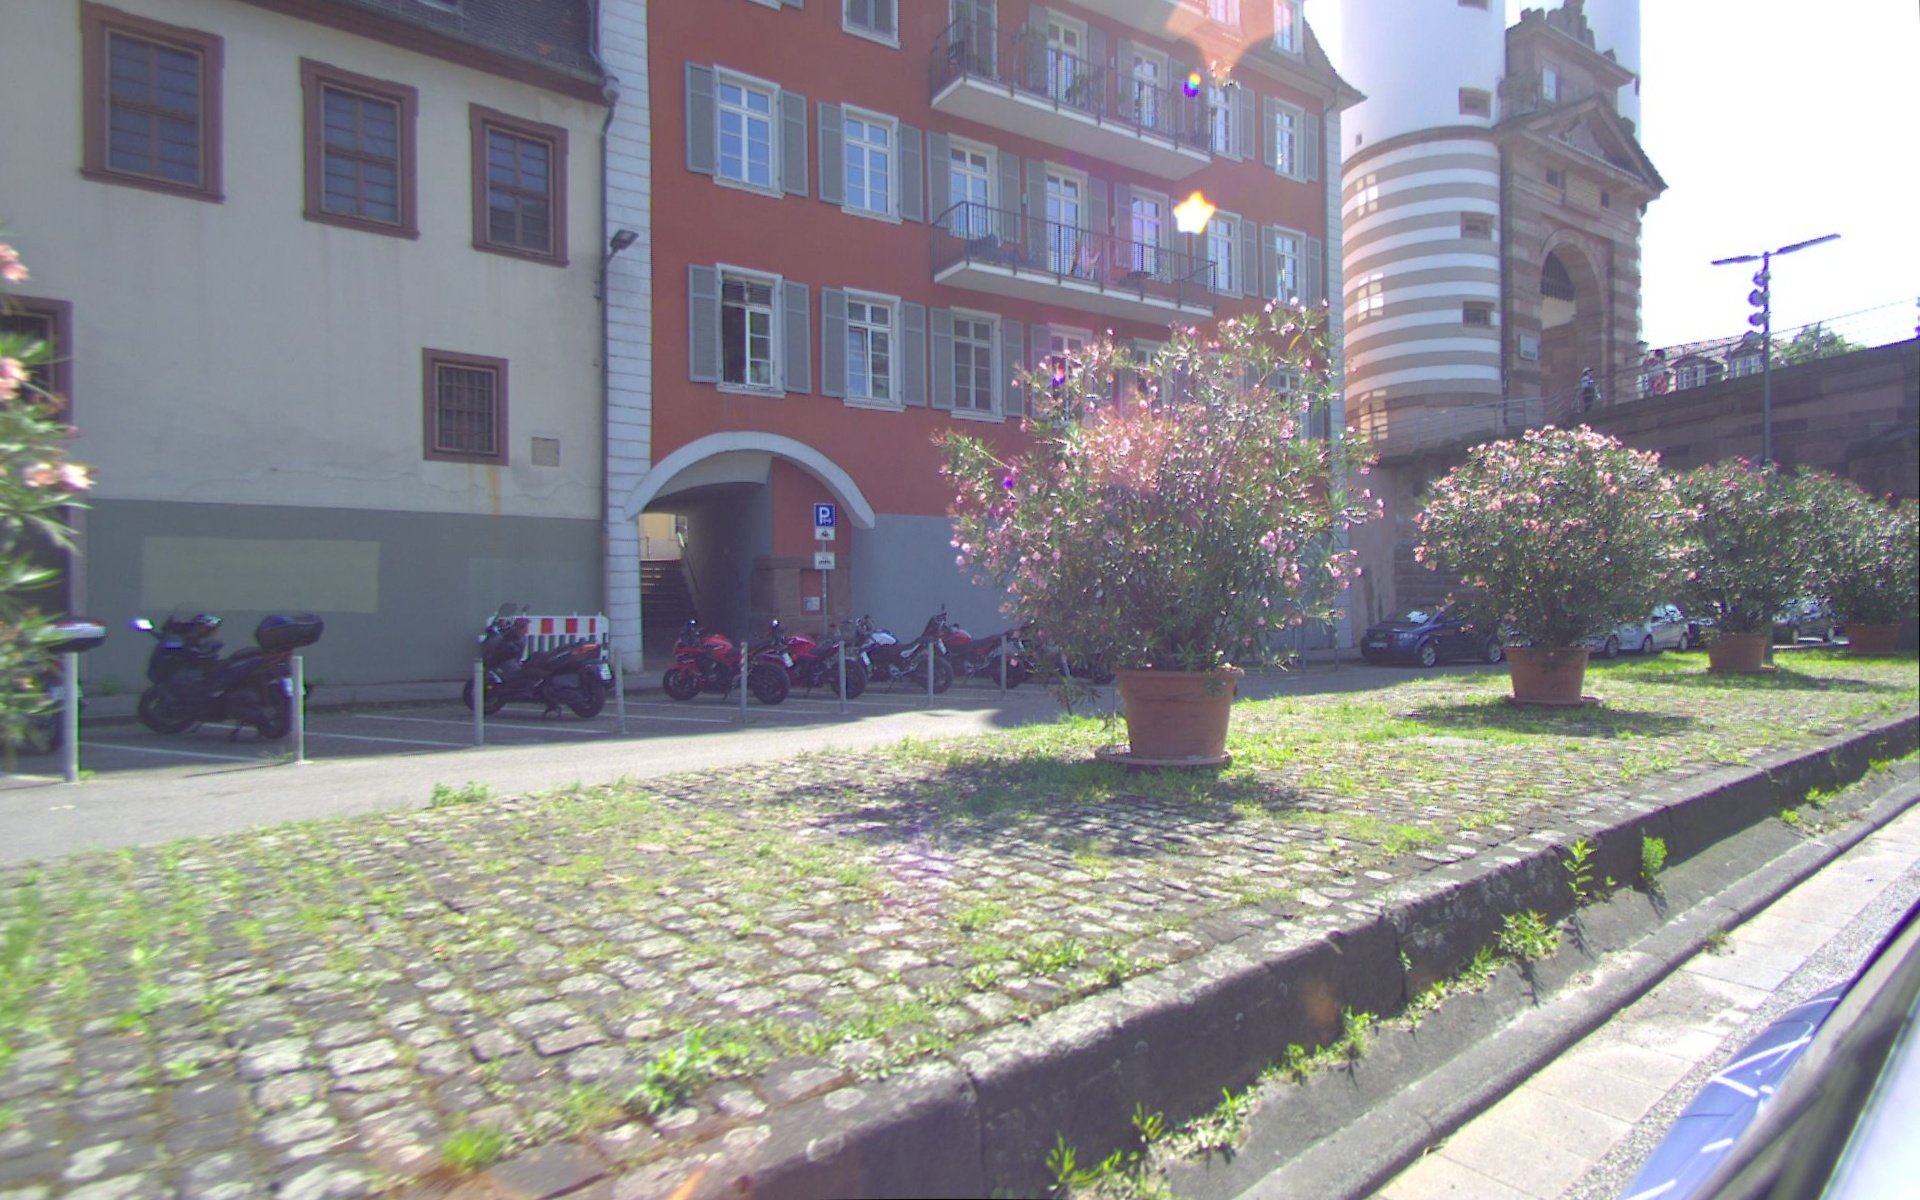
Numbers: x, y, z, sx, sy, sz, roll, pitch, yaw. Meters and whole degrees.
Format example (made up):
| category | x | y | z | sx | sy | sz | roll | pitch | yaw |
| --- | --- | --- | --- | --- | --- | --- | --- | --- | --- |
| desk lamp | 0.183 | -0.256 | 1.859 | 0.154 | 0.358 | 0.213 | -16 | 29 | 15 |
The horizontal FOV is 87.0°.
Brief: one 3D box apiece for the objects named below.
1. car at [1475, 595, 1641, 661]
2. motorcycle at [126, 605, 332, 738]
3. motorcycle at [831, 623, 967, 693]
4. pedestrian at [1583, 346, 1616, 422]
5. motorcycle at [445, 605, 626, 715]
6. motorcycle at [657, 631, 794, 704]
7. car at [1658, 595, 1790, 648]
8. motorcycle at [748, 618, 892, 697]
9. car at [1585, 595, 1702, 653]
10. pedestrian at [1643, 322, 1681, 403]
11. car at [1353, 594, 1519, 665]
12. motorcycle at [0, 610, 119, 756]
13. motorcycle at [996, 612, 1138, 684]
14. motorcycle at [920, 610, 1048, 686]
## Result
| category | x | y | z | sx | sy | sz | roll | pitch | yaw |
| --- | --- | --- | --- | --- | --- | --- | --- | --- | --- |
| car | 15.684 | 0.670 | 26.501 | 4.329 | 1.511 | 1.901 | -1 | 1 | -31 |
| motorcycle | -7.650 | 0.708 | 10.580 | 2.169 | 1.283 | 0.624 | 0 | 0 | 19 |
| motorcycle | -1.001 | 0.936 | 16.679 | 2.163 | 1.090 | 0.626 | 0 | 0 | 11 |
| pedestrian | 18.505 | -6.239 | 29.284 | 0.693 | 2.038 | 0.581 | -1 | 1 | -33 |
| motorcycle | -5.362 | 0.715 | 12.791 | 2.155 | 1.283 | 0.778 | 0 | 0 | 19 |
| motorcycle | -3.420 | 0.972 | 14.795 | 1.901 | 0.999 | 0.546 | 0 | 0 | 11 |
| car | 23.823 | 0.619 | 31.509 | 4.404 | 1.454 | 1.783 | -1 | 1 | -31 |
| motorcycle | -2.181 | 0.882 | 15.850 | 2.163 | 1.162 | 0.626 | 0 | 0 | 11 |
| car | 19.395 | 0.640 | 28.673 | 3.598 | 1.495 | 1.559 | -1 | 1 | -35 |
| pedestrian | 19.321 | -6.510 | 27.861 | 0.693 | 2.038 | 0.641 | -1 | 1 | -33 |
| car | 11.501 | 0.661 | 24.445 | 3.733 | 1.562 | 1.679 | -1 | 0 | -27 |
| motorcycle | -9.054 | 0.736 | 9.586 | 2.207 | 1.268 | 0.624 | 0 | 0 | 19 |
| motorcycle | 1.971 | 0.853 | 18.614 | 2.505 | 1.249 | 0.839 | 0 | 0 | 14 |
| motorcycle | 0.426 | 0.808 | 17.698 | 2.121 | 1.249 | 0.839 | 0 | 0 | 14 |
